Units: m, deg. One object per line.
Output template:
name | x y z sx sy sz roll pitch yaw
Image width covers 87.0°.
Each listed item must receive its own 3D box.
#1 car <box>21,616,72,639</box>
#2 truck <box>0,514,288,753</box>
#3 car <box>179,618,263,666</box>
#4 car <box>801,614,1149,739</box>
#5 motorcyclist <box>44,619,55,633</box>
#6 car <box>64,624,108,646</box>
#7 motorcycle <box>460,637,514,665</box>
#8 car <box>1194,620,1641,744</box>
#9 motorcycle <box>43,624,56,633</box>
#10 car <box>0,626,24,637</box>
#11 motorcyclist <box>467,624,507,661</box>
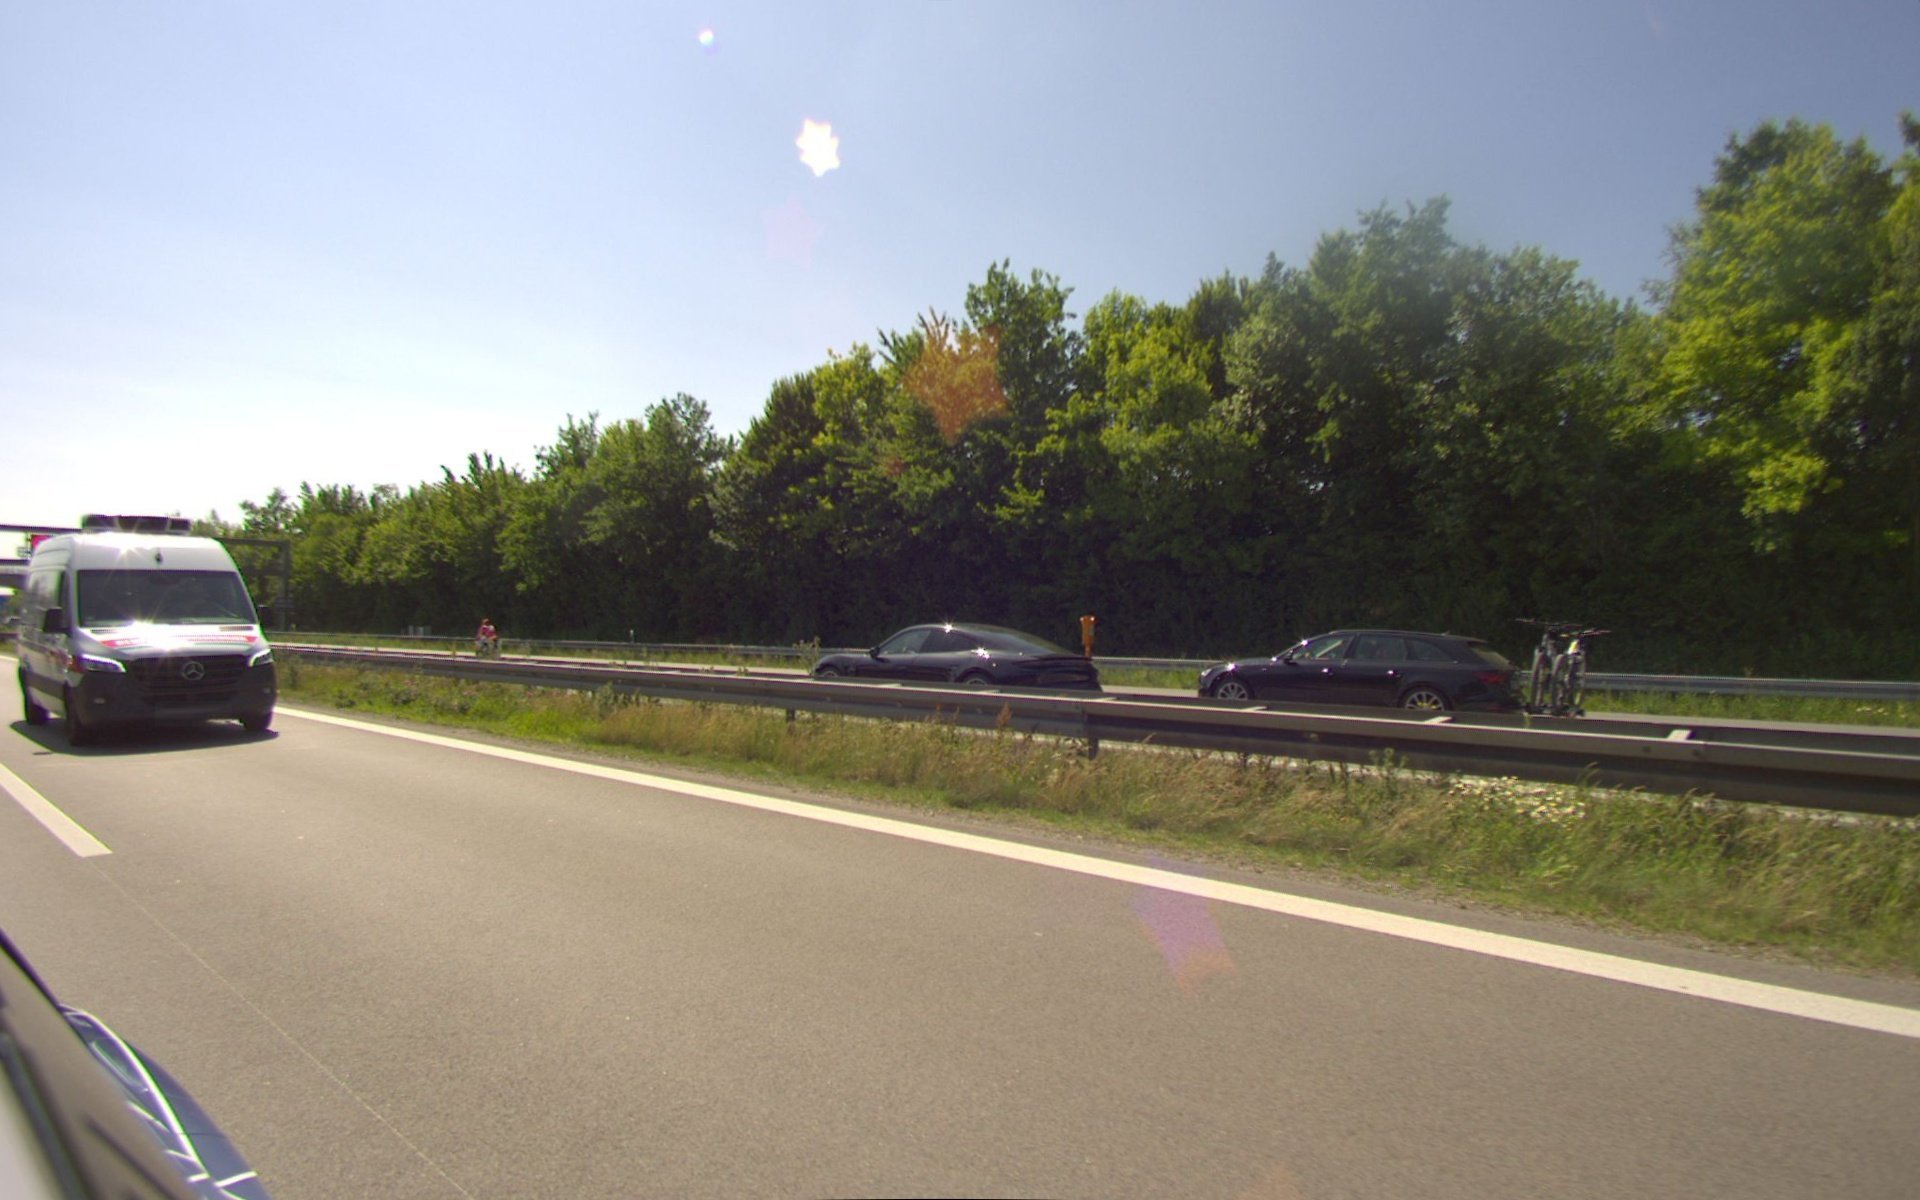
car | -62.475 1.879 69.198 4.424 1.532 1.973 -1 -2 40
truck | -11.383 0.416 13.773 6.687 2.561 1.973 -1 -1 41
car | -30.923 1.721 42.302 5.015 1.896 1.673 -1 -2 40
car | 0.065 0.975 14.340 4.828 1.486 1.973 -1 -2 41
motorcyclist | -99.699 2.886 110.789 0.931 1.511 0.797 -1 -2 40
car | -66.999 2.672 77.580 4.555 1.597 1.848 -1 -2 40
motorcycle | -18.723 1.997 40.018 2.653 1.025 0.925 -1 -2 41
car | 6.417 1.059 14.751 5.620 1.486 1.973 -1 -2 41
motorcycle | -99.789 3.137 110.877 2.220 0.953 0.797 -1 -2 41
car | -123.814 4.110 132.034 5.061 1.476 1.883 -1 -2 40
motorcyclist | -18.681 1.669 39.996 1.356 1.455 0.931 -1 -2 40
